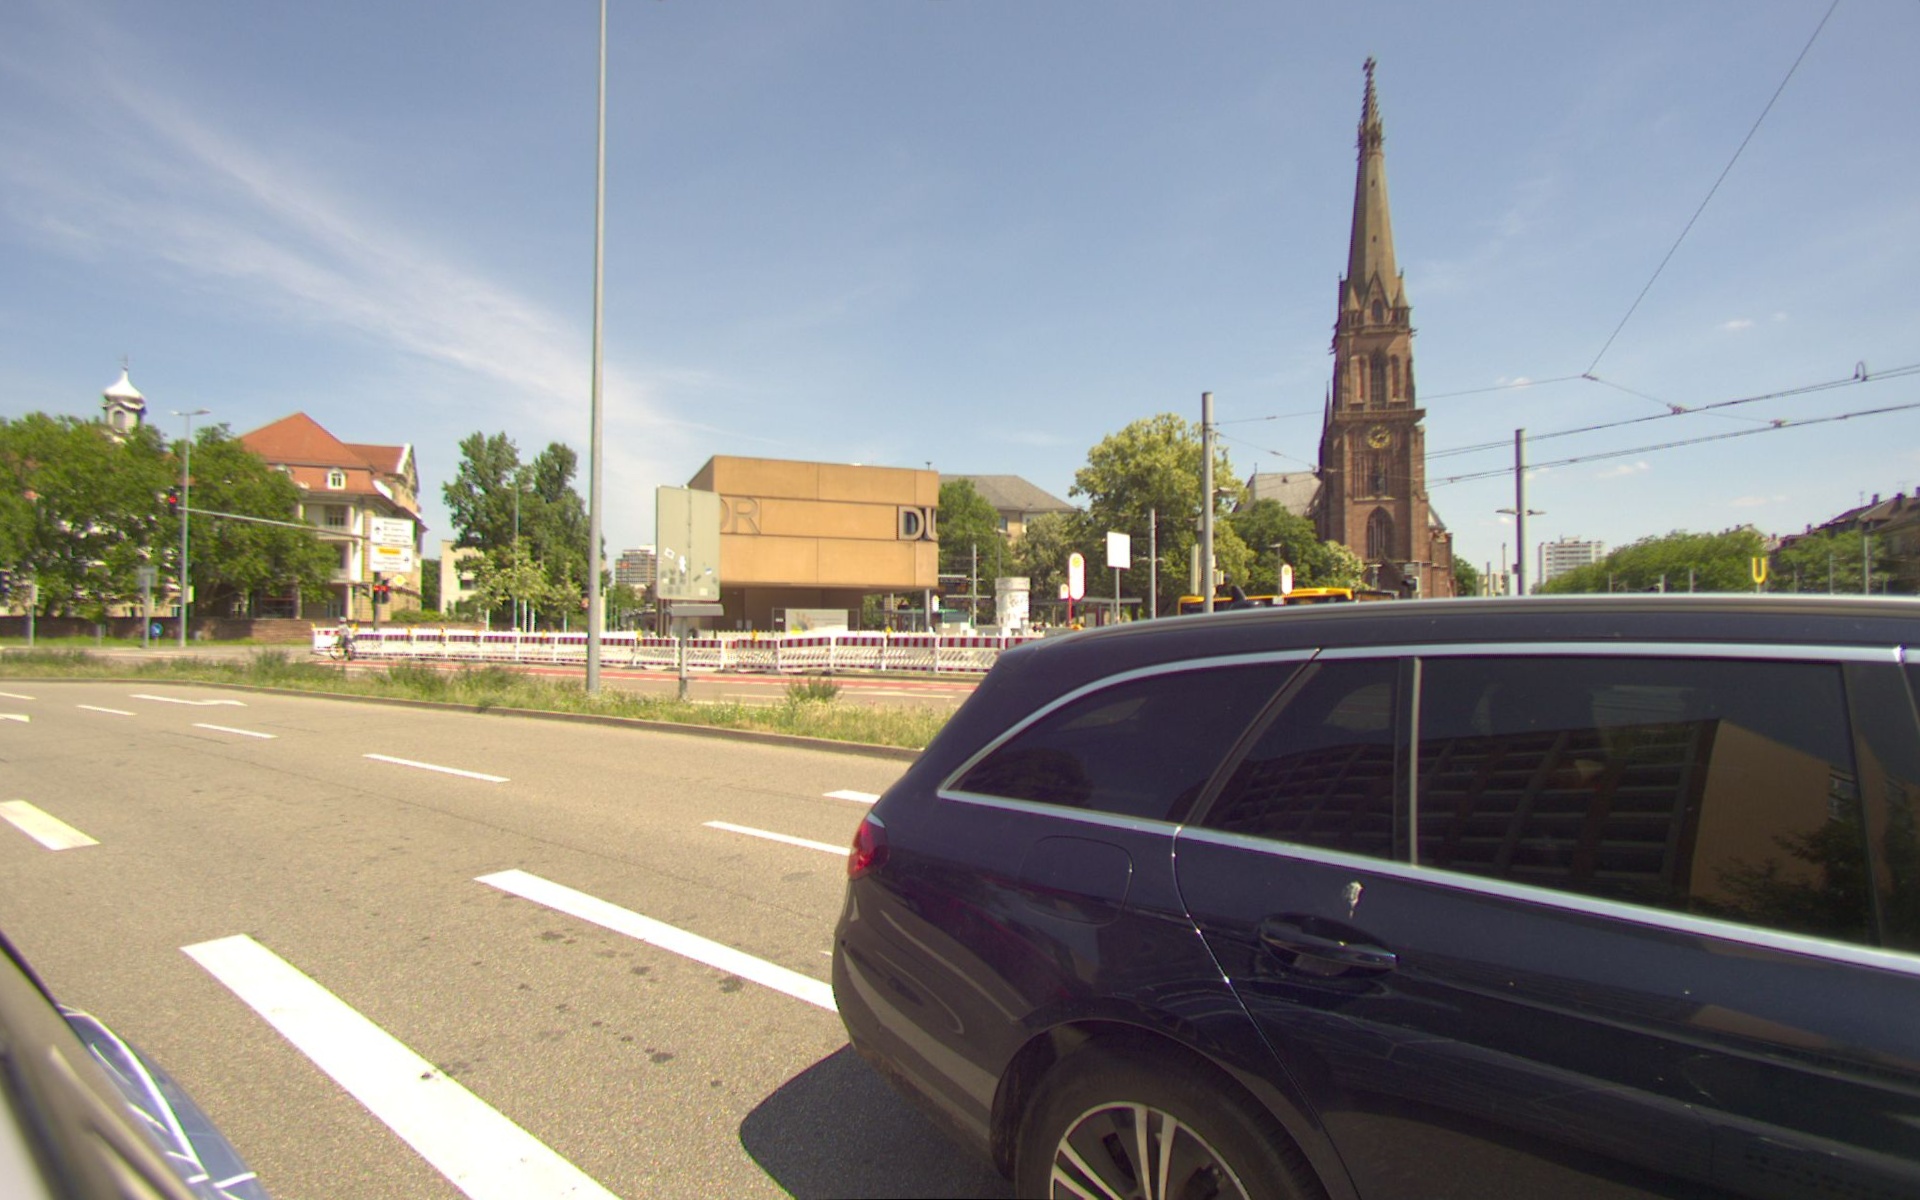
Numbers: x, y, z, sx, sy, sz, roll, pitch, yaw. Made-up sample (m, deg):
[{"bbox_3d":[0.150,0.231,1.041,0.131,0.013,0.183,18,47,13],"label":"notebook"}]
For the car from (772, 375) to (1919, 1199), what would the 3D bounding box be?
[{"bbox_3d":[1.935,0.574,1.456,4.803,1.653,1.778,-2,-1,42],"label":"car"}]

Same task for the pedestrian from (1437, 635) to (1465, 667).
[{"bbox_3d":[21.030,2.191,43.346,0.518,1.344,1.001,1,-2,-17],"label":"pedestrian"}]

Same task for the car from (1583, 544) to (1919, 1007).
[{"bbox_3d":[4.528,0.602,3.545,3.736,1.588,1.725,-2,-3,42],"label":"car"}]

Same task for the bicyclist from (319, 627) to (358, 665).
[{"bbox_3d":[-23.237,1.698,37.847,1.432,1.366,0.581,-1,0,26],"label":"bicyclist"}]

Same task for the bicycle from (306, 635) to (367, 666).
[{"bbox_3d":[-23.217,1.856,37.680,2.220,1.080,0.871,-1,0,26],"label":"bicycle"}]

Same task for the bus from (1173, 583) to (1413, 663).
[{"bbox_3d":[14.169,1.087,44.959,2.807,3.039,12.259,1,-2,-22],"label":"bus"}]
